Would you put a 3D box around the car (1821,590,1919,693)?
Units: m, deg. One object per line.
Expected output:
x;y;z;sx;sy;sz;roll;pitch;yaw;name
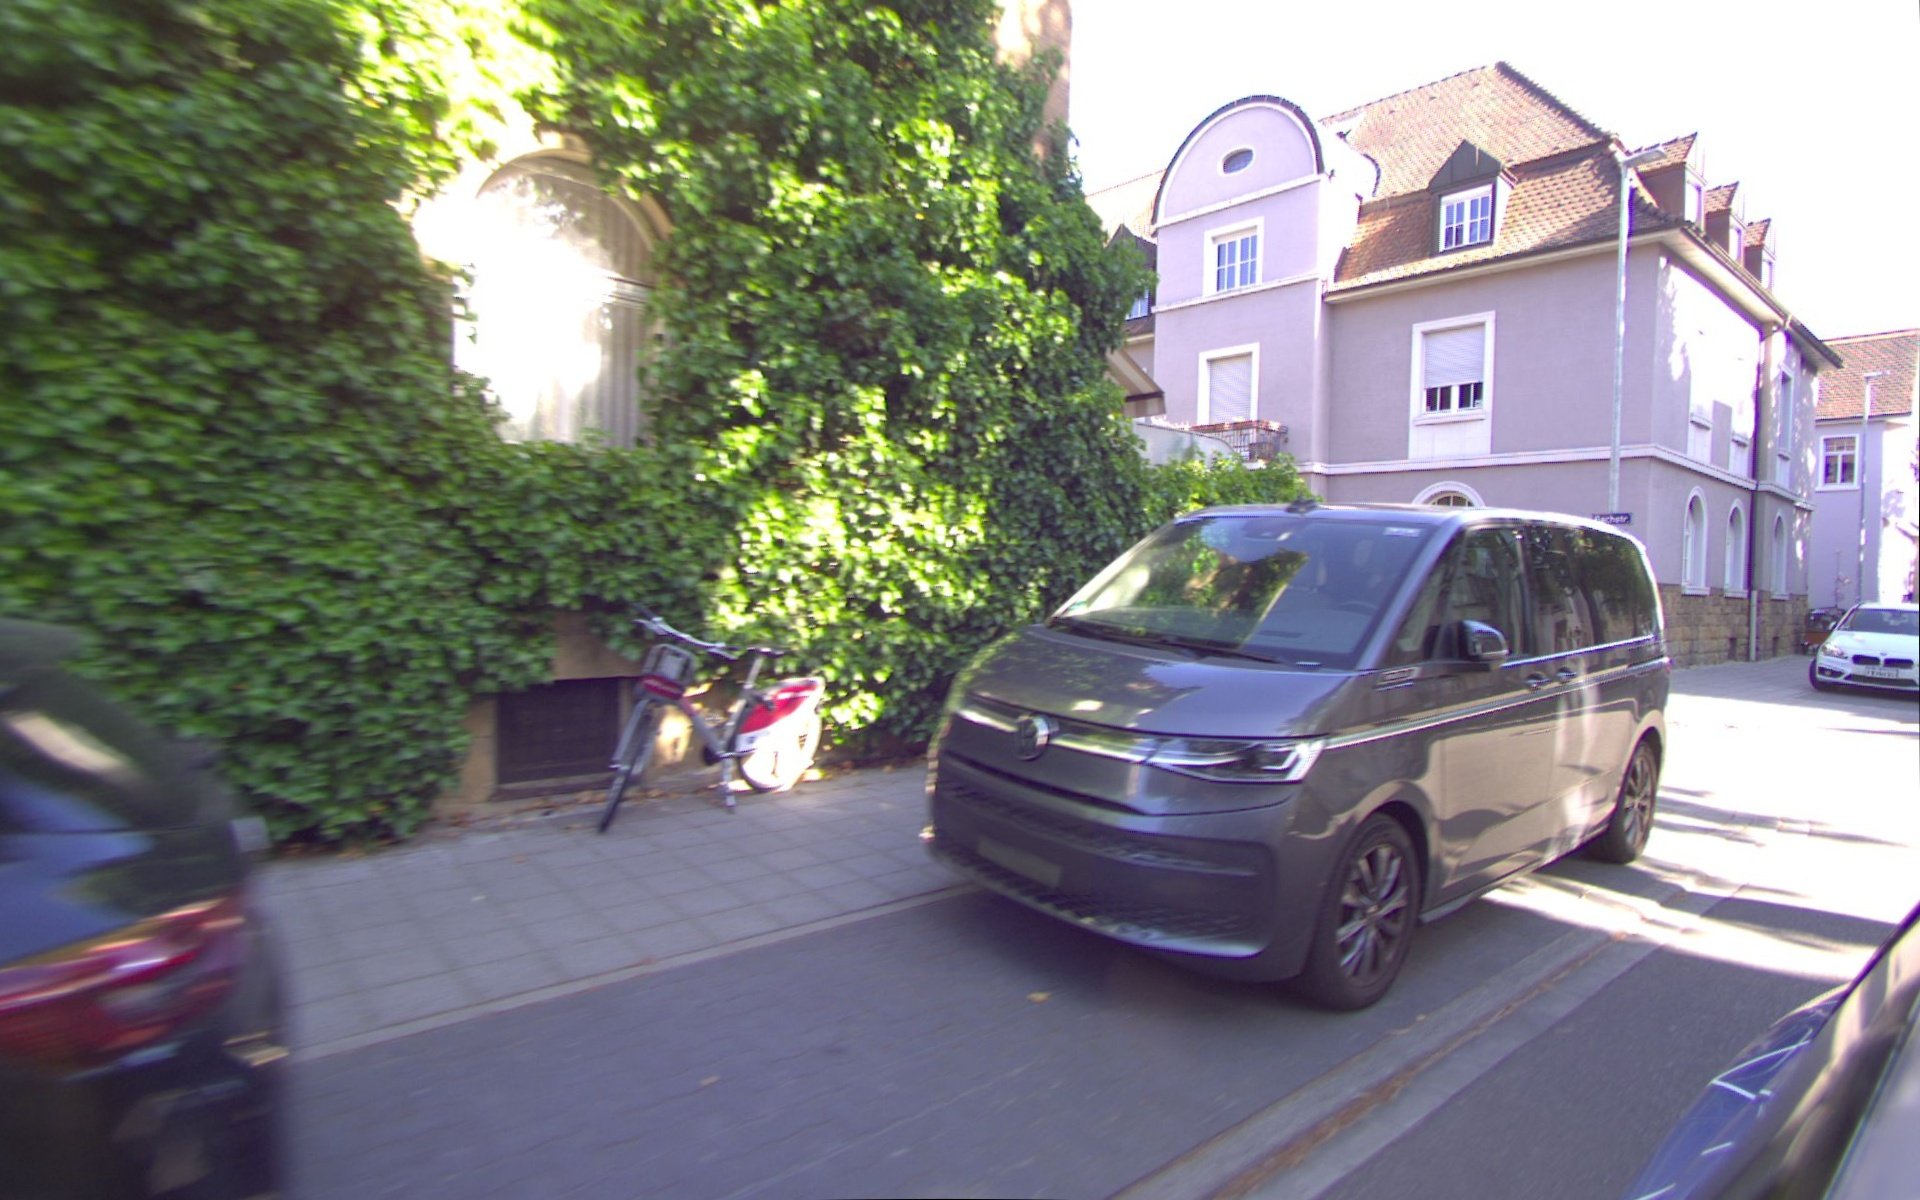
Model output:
16.338;0.664;17.465;4.037;1.574;1.811;0;2;-44;car

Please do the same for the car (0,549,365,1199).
-2.850;0.643;0.737;3.938;1.439;1.640;0;3;-41;car

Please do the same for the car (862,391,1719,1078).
2.013;0.344;5.103;4.765;1.932;1.856;0;2;-40;car

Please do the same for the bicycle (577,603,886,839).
-1.222;0.597;5.651;1.630;1.123;0.462;0;3;-41;bicycle
